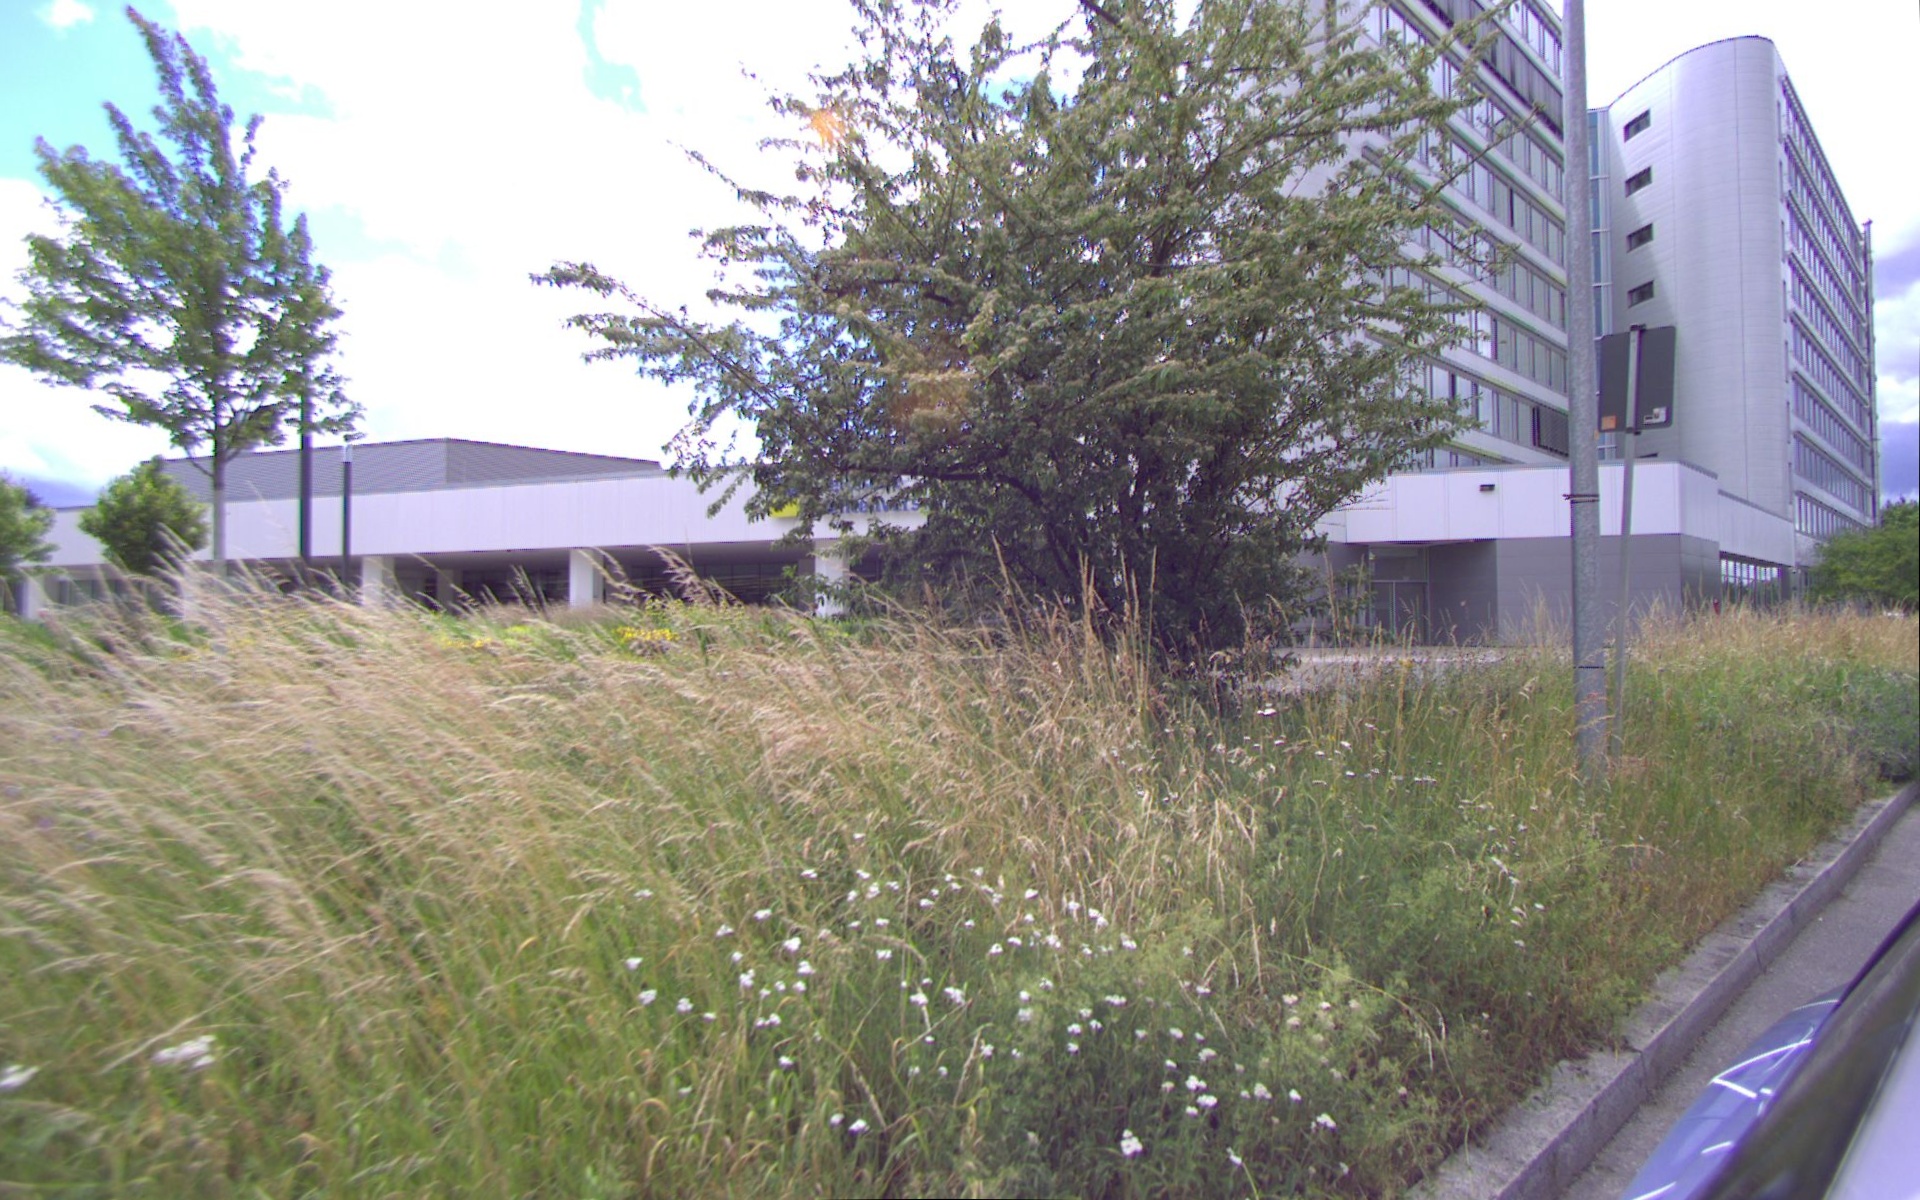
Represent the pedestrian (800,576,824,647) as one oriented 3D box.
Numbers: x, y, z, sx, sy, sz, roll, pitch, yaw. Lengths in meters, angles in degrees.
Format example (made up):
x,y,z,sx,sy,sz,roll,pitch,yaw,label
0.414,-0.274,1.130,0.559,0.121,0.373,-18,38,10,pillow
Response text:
x,y,z,sx,sy,sz,roll,pitch,yaw,label
-4.285,0.338,29.339,0.596,2.040,0.695,-1,-2,0,pedestrian
